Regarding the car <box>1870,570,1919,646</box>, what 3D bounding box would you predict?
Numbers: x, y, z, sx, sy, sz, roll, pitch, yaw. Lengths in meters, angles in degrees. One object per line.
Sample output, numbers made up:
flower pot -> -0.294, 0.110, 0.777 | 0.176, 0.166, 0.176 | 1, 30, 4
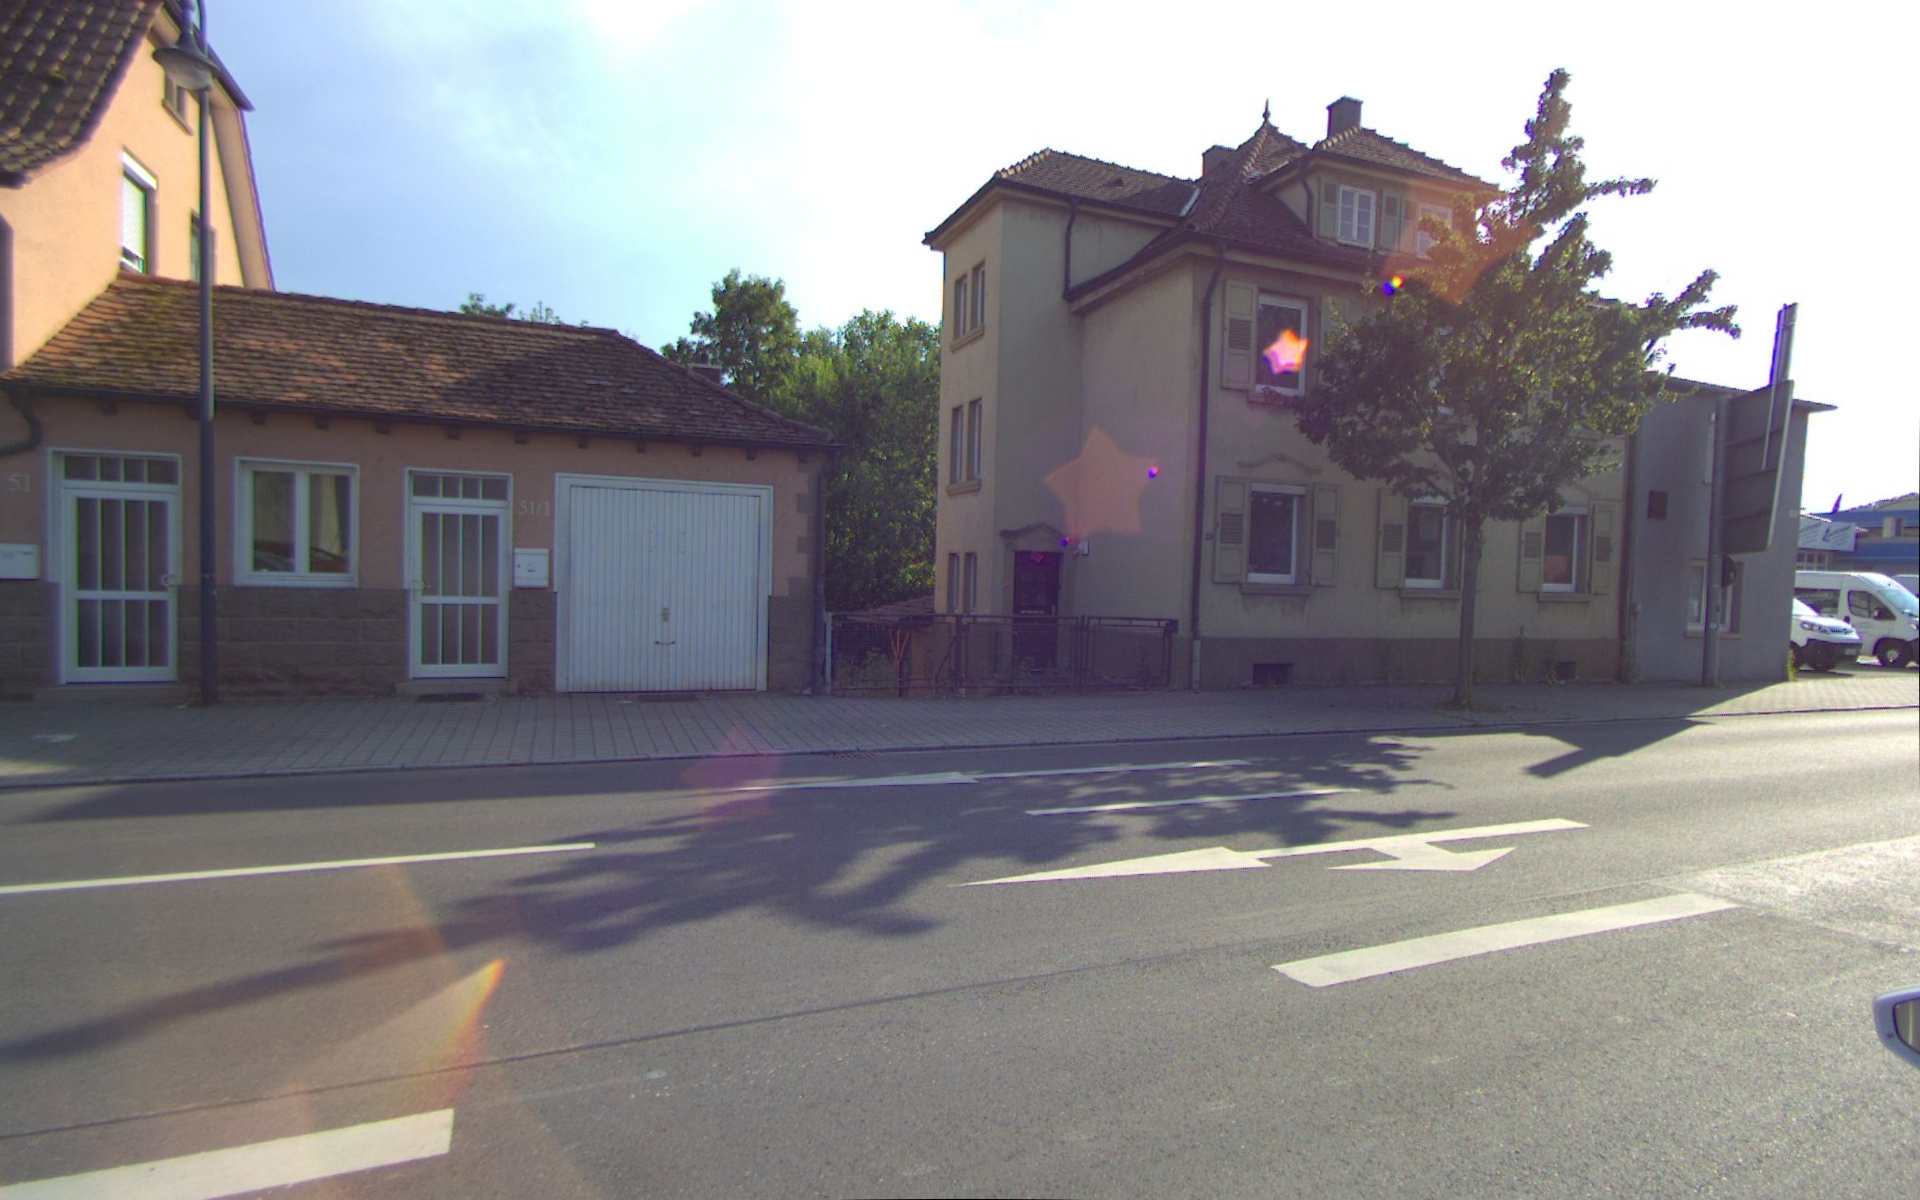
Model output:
car -> 33.455, 0.345, 32.026 | 2.221, 2.478, 6.133 | 0, 2, -28

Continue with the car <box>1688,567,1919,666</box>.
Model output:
car -> 24.434, 0.346, 28.417 | 2.163, 2.513, 5.904 | 0, 2, -24

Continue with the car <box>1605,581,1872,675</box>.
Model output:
car -> 19.383, 0.607, 25.331 | 1.909, 2.026, 4.960 | 1, 2, -25
